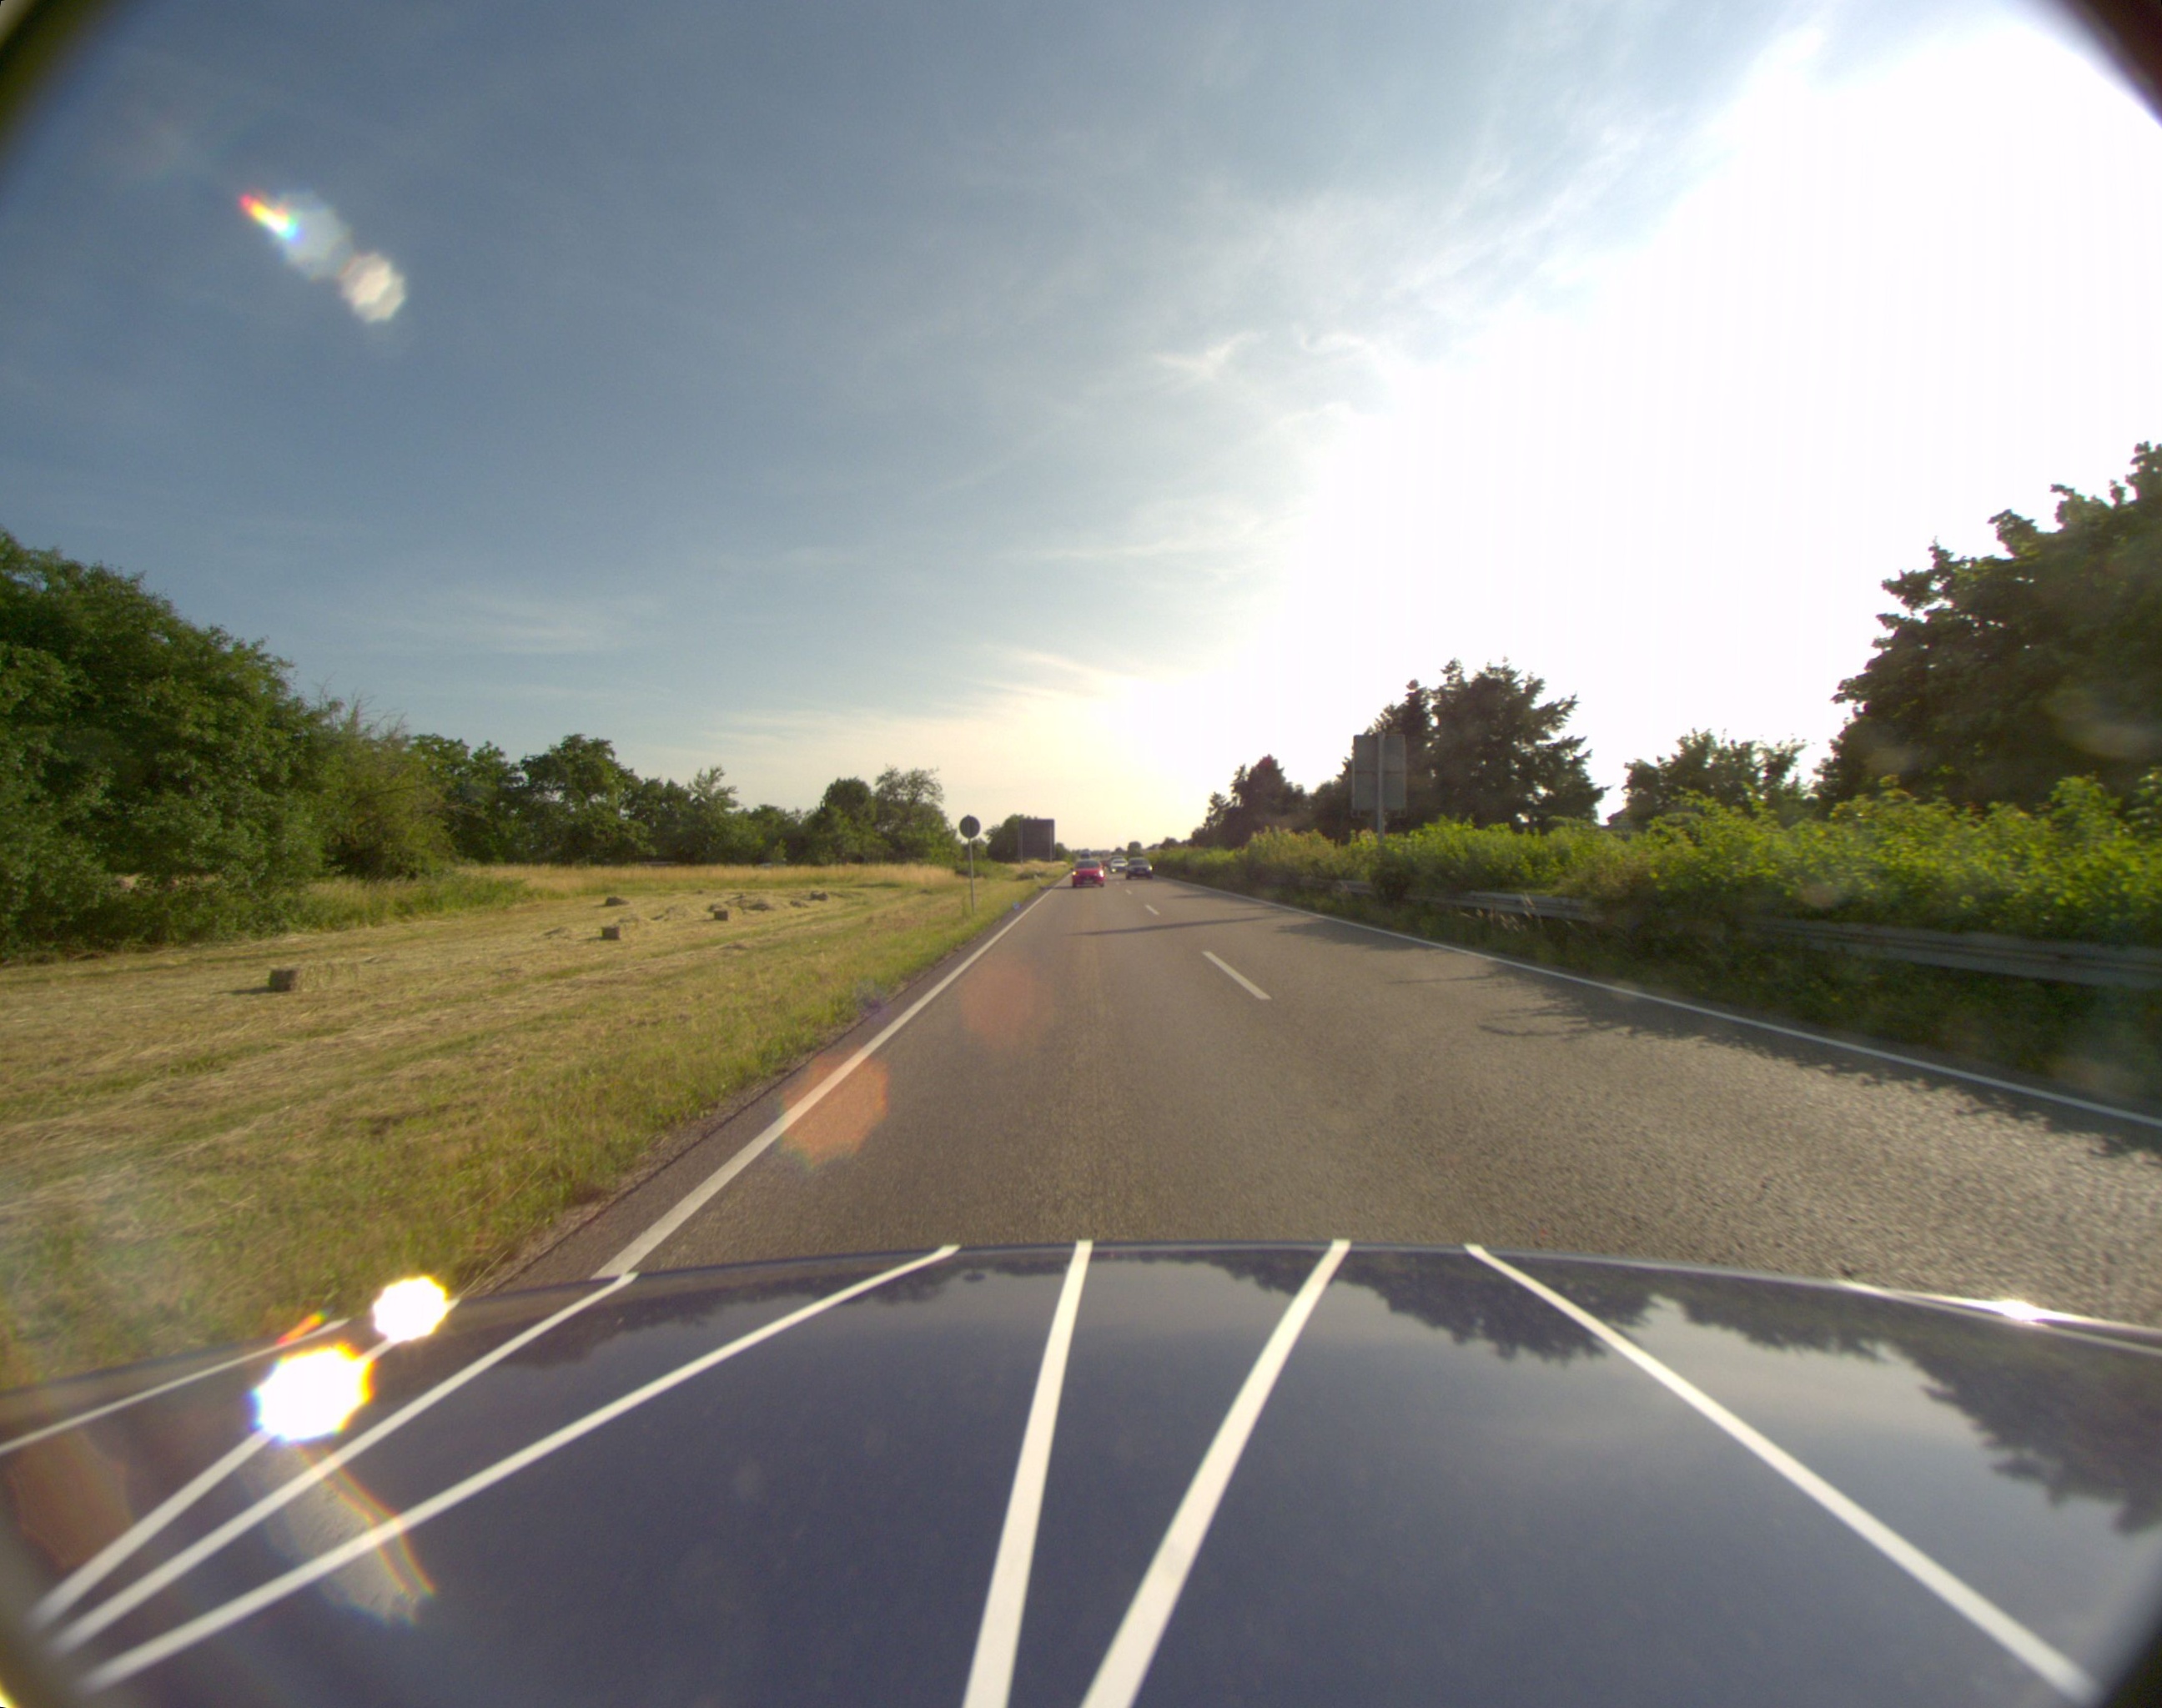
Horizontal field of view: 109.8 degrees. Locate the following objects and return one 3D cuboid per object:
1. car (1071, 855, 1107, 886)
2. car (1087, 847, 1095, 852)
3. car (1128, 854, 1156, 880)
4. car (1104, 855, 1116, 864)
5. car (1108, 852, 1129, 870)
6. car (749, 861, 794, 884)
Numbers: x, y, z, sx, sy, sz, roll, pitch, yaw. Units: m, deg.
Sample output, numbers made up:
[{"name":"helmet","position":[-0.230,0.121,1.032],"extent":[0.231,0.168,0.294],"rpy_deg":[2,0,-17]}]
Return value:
[{"name":"car","position":[0.476,0.867,41.684],"extent":[1.821,1.565,4.000],"rpy_deg":[-2,0,2]},{"name":"car","position":[2.852,-1.216,212.397],"extent":[1.998,1.412,4.000],"rpy_deg":[-2,0,2]},{"name":"car","position":[4.233,0.864,53.229],"extent":[1.693,1.695,4.000],"rpy_deg":[-2,0,1]},{"name":"car","position":[5.254,0.973,137.080],"extent":[1.998,1.412,4.000],"rpy_deg":[-2,0,2]},{"name":"car","position":[3.871,0.698,78.367],"extent":[1.998,1.762,4.000],"rpy_deg":[-2,0,2]},{"name":"car","position":[-24.961,1.454,61.413],"extent":[1.998,1.739,4.000],"rpy_deg":[-2,0,0]}]
